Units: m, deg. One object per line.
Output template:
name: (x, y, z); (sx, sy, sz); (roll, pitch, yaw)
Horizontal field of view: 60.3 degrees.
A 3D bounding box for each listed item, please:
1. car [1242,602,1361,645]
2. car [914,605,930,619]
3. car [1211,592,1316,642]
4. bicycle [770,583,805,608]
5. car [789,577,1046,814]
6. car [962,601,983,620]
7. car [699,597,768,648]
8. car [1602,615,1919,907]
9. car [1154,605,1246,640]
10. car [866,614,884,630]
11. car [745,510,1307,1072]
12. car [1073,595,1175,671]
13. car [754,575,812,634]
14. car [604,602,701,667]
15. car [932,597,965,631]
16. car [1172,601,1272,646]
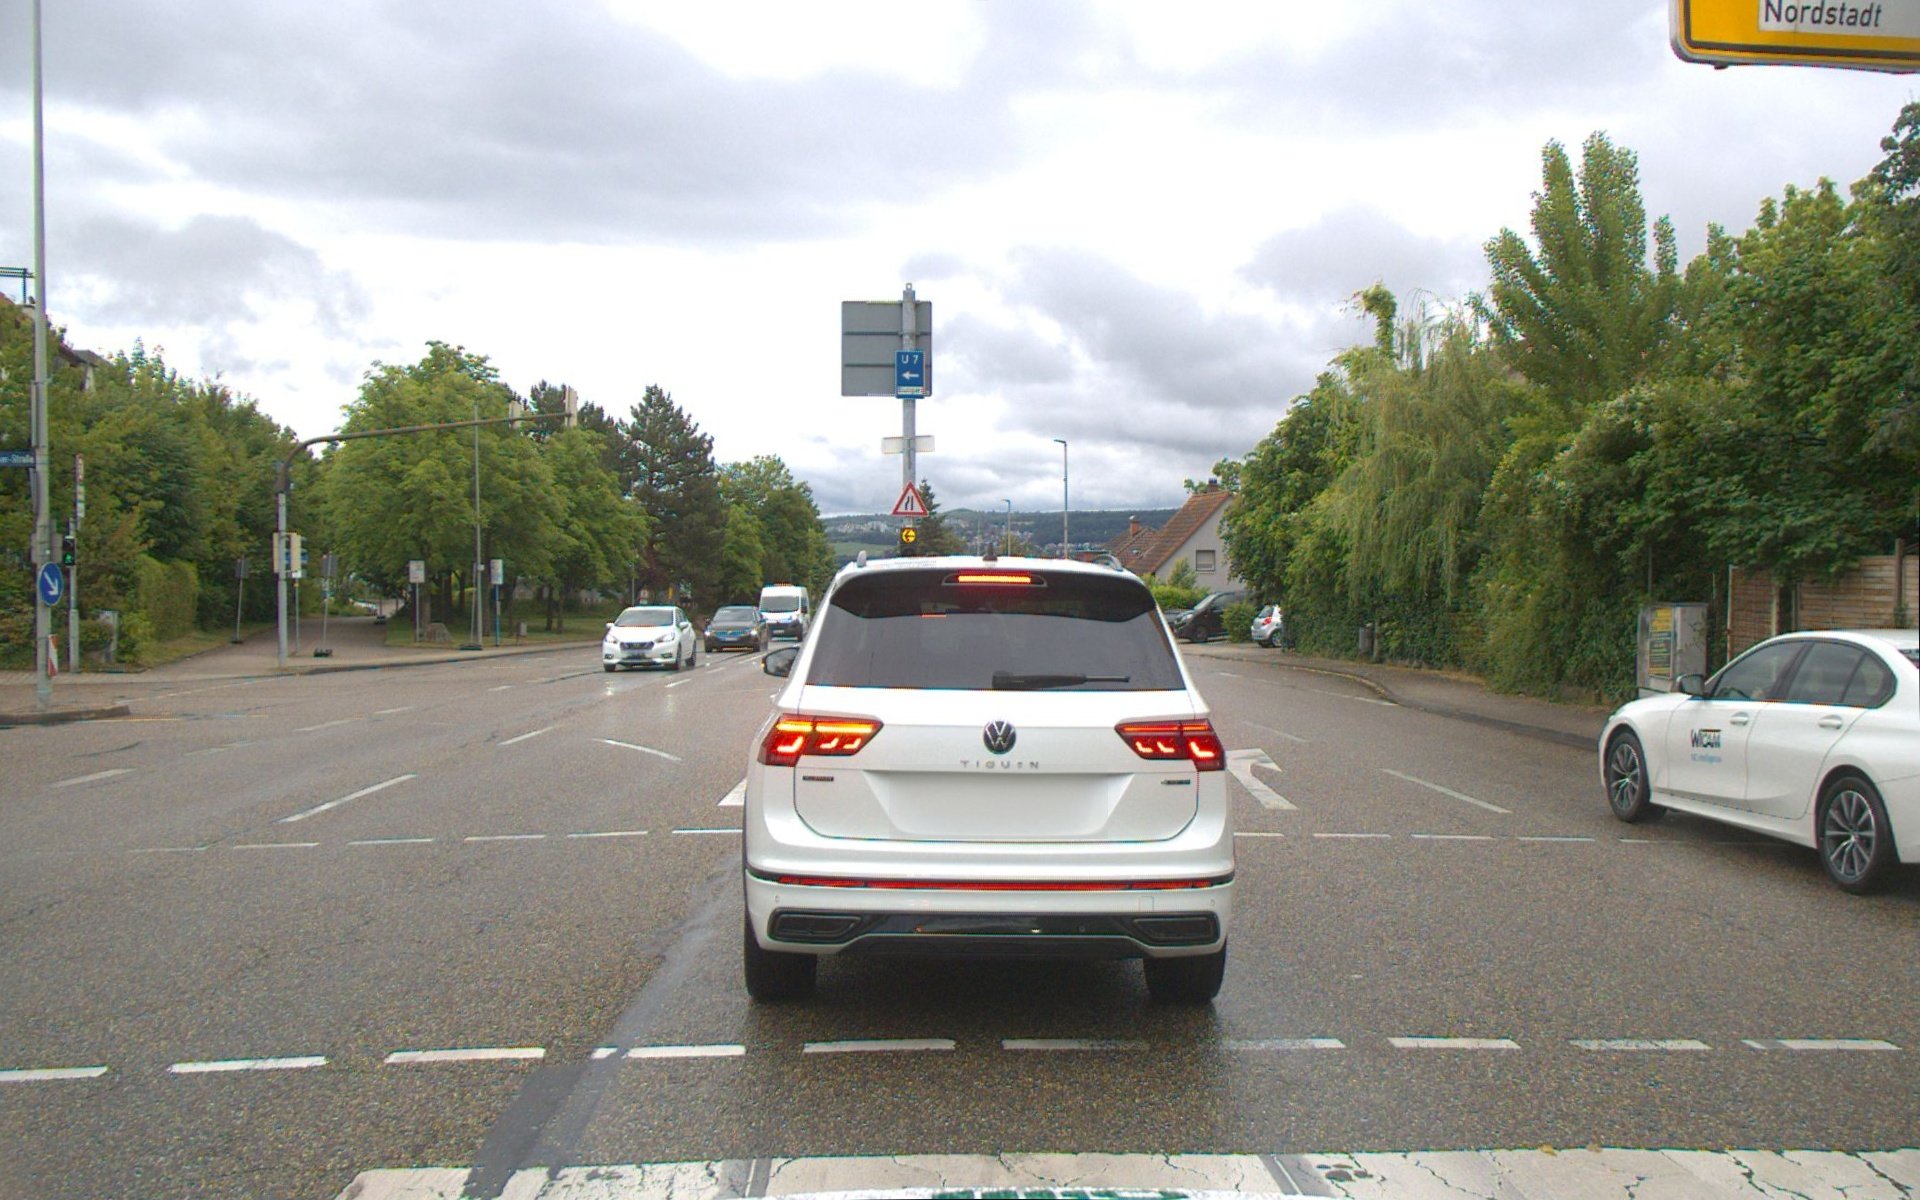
car: (11.668, 0.810, 56.590); (3.644, 1.420, 1.725); (0, -1, -8)
car: (-4.604, 1.468, 200.143); (1.813, 1.602, 3.999); (-1, 0, -1)
car: (11.366, 0.632, 62.118); (3.556, 1.777, 1.707); (0, 2, -5)
bicycle: (-8.275, -0.235, 79.408); (1.603, 1.145, 0.468); (-2, 1, -3)
car: (-0.309, 0.659, 13.419); (1.762, 1.617, 3.926); (1, 0, 0)
car: (1.089, 0.930, 145.783); (1.813, 1.602, 3.999); (-1, 0, -1)
car: (-7.463, 0.713, 54.770); (1.740, 1.528, 4.470); (-2, 0, -2)
car: (5.727, 0.874, 10.294); (1.631, 1.452, 4.303); (2, 0, -2)
car: (10.033, 0.942, 69.376); (3.613, 1.394, 1.518); (1, -2, -3)
car: (-9.978, 2.600, 194.666); (1.953, 1.758, 3.999); (2, 0, -1)
car: (0.156, 0.603, 7.379); (1.727, 1.725, 4.271); (2, 0, -2)
car: (3.689, 0.720, 37.891); (1.701, 1.602, 4.066); (1, 0, -3)
car: (-8.124, 0.196, 76.301); (2.251, 2.572, 5.771); (-1, 0, -3)
car: (-7.146, 0.762, 38.756); (1.711, 1.421, 3.800); (0, 0, -3)
car: (-0.642, 0.750, 90.616); (1.677, 1.789, 3.800); (0, 0, -2)
car: (10.191, 0.917, 64.474); (3.556, 1.654, 1.790); (1, 1, -5)
